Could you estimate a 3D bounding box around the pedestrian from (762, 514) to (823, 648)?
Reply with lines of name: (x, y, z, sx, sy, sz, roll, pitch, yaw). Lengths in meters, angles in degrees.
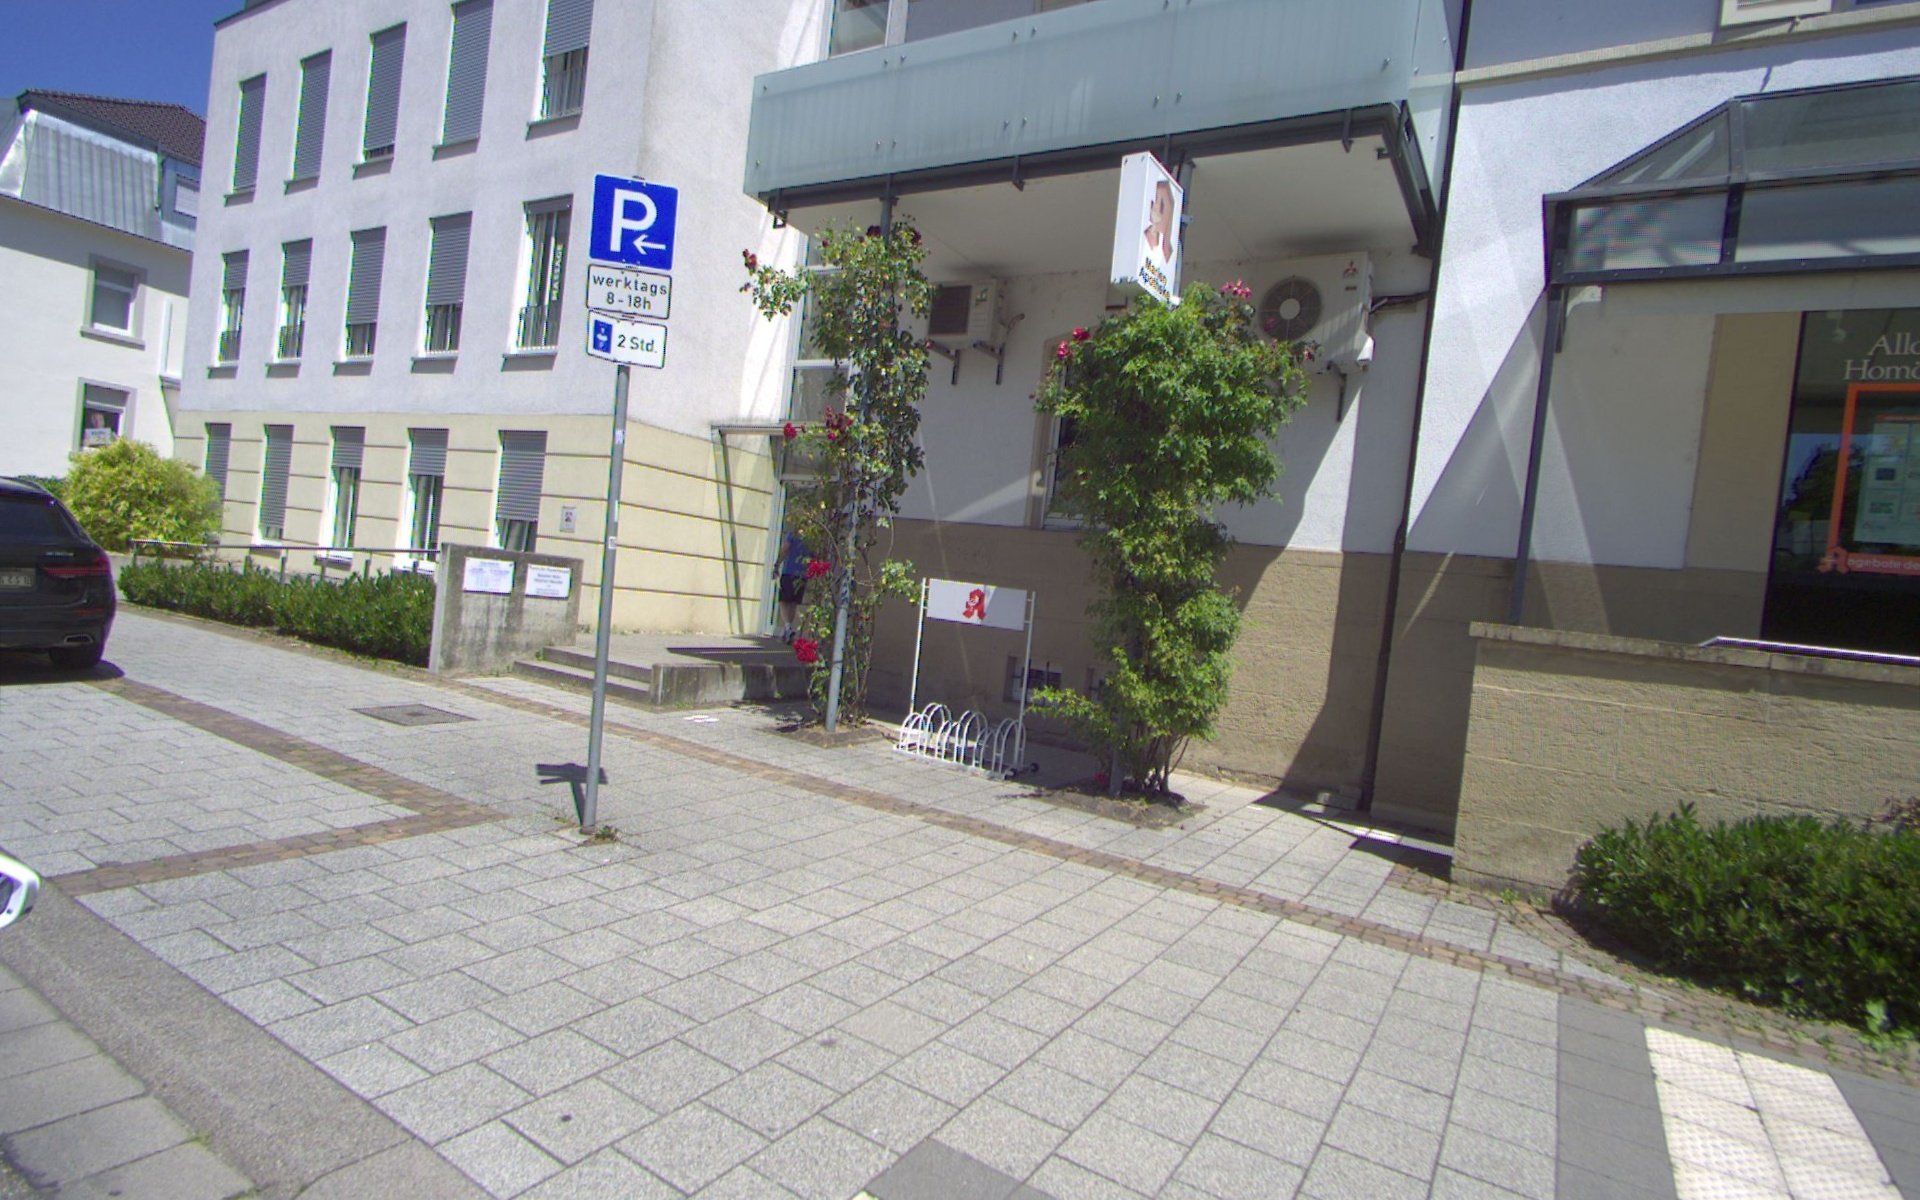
pedestrian: (-2.260, -0.254, 13.639, 0.586, 1.723, 0.410, 6, 1, -1)

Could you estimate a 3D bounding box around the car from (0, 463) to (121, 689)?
car: (-8.722, -0.383, 8.101, 4.670, 1.578, 1.703, 7, 4, 33)
